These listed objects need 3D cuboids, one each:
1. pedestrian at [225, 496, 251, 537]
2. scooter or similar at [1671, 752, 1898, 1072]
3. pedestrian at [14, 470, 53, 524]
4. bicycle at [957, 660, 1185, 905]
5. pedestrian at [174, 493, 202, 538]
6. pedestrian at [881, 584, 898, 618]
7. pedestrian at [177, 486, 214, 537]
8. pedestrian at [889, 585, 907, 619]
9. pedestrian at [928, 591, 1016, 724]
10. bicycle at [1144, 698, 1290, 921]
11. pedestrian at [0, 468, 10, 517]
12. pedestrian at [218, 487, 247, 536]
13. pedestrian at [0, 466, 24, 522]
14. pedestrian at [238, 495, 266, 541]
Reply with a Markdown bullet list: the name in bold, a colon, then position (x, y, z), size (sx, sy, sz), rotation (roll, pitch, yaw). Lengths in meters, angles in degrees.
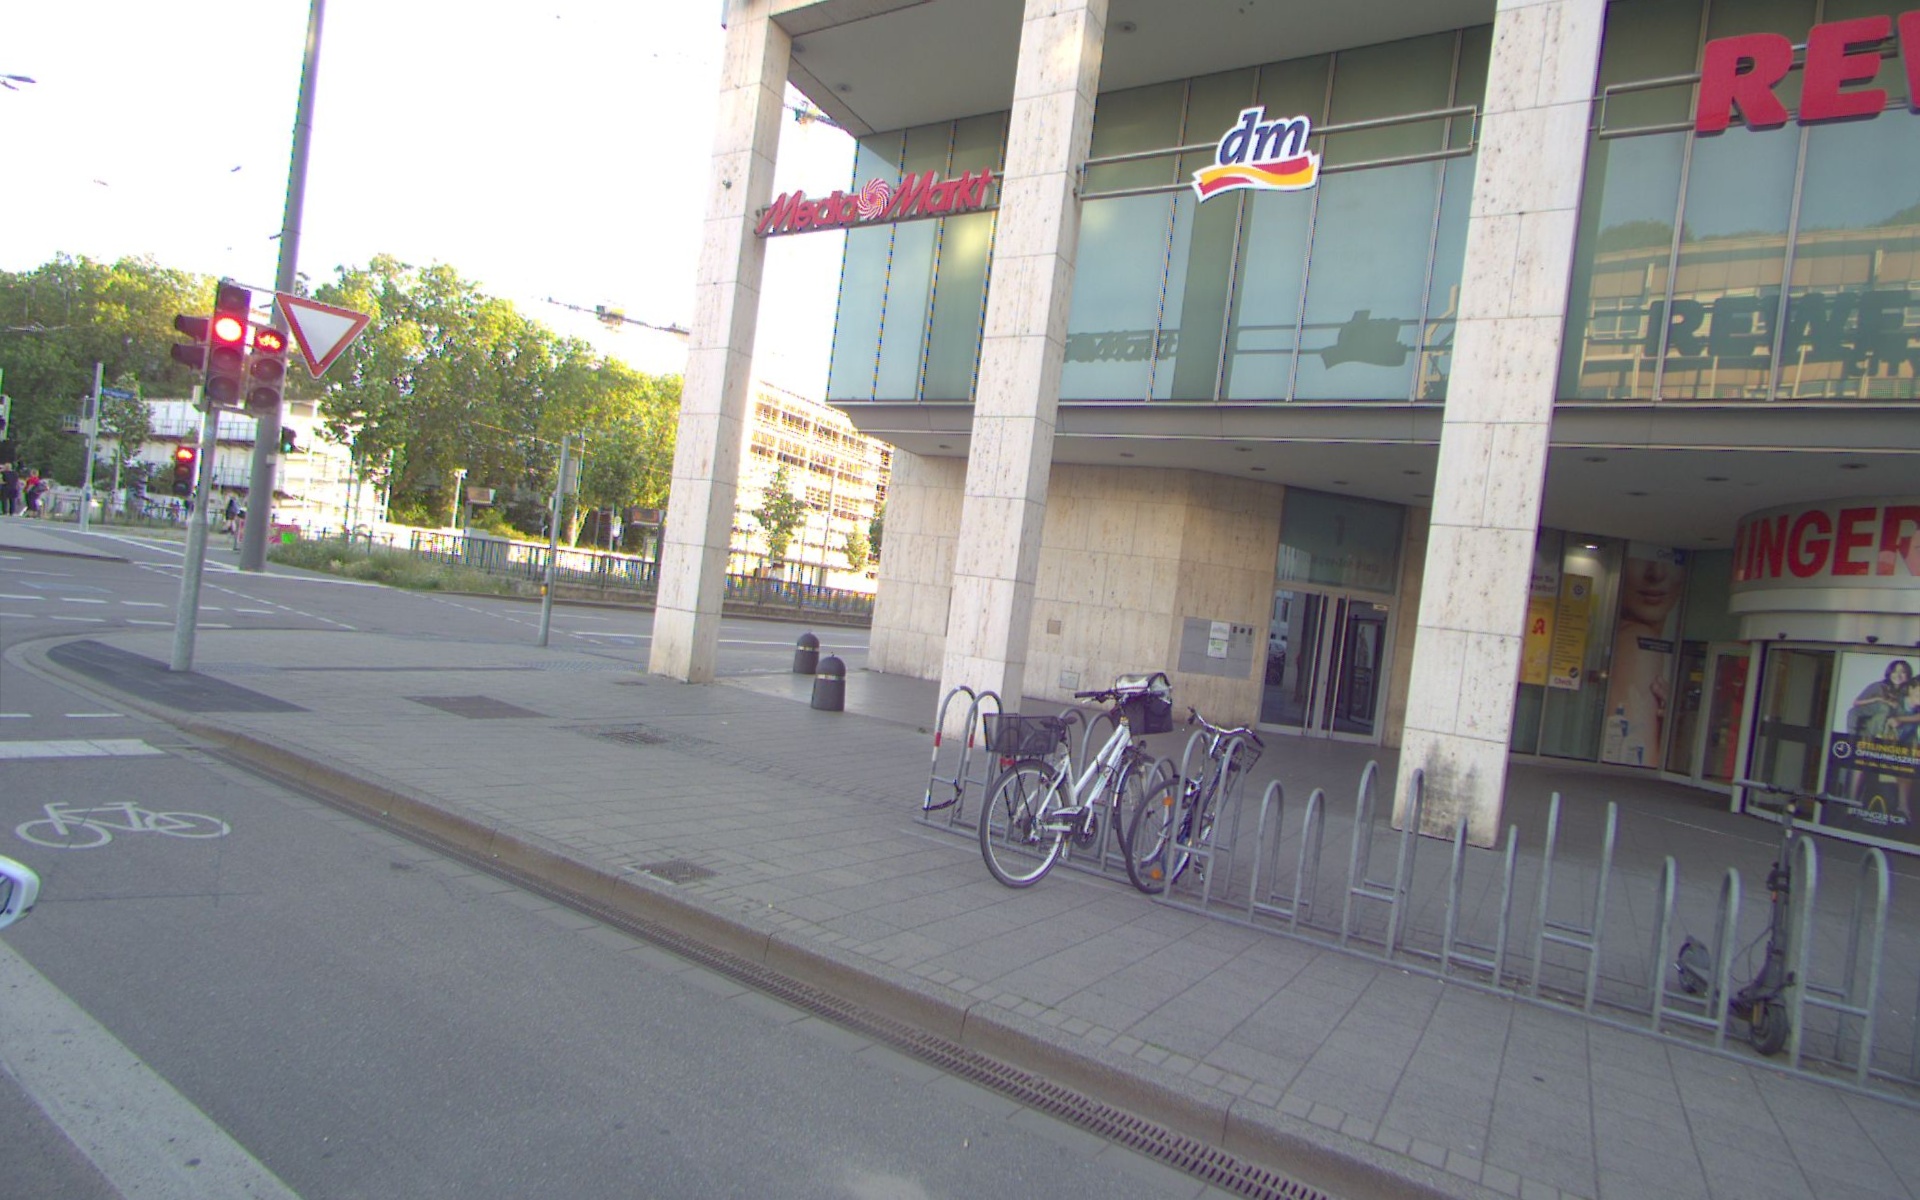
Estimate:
- **pedestrian**: position (-28.117, -3.248, 39.183), size (0.672, 1.459, 0.707), rotation (6, 1, -36)
- **scooter or similar**: position (3.989, 1.437, 4.959), size (0.484, 1.214, 1.196), rotation (8, 1, 27)
- **pedestrian**: position (-32.681, -3.629, 35.494), size (0.696, 1.756, 0.843), rotation (8, 1, 44)
- **bicycle**: position (0.702, 1.005, 5.928), size (0.540, 1.198, 1.479), rotation (8, 1, 36)
- **pedestrian**: position (-29.443, -3.224, 38.347), size (0.527, 1.612, 0.571), rotation (8, 1, 32)
- **pedestrian**: position (-4.431, 0.052, 63.295), size (0.559, 2.039, 0.575), rotation (8, 1, 29)
- **pedestrian**: position (-28.477, -3.299, 37.483), size (0.700, 1.746, 0.668), rotation (7, 1, 2)
- **pedestrian**: position (-3.862, 0.102, 62.968), size (0.631, 2.039, 0.626), rotation (8, 1, 28)
- **pedestrian**: position (0.165, 0.777, 13.538), size (0.696, 1.659, 0.792), rotation (8, 1, 31)
- **bicycle**: position (1.677, 1.229, 6.373), size (0.474, 1.092, 1.773), rotation (8, 0, 24)
- **pedestrian**: position (-33.979, -3.813, 35.461), size (0.570, 1.699, 0.631), rotation (7, 1, -44)
- **pedestrian**: position (-27.829, -3.373, 38.484), size (0.708, 1.746, 0.660), rotation (6, 1, -41)
- **pedestrian**: position (-32.848, -3.657, 34.590), size (0.803, 1.814, 0.790), rotation (7, 1, -44)
- **pedestrian**: position (-28.410, -3.278, 40.380), size (0.661, 1.746, 0.707), rotation (7, 1, -29)
